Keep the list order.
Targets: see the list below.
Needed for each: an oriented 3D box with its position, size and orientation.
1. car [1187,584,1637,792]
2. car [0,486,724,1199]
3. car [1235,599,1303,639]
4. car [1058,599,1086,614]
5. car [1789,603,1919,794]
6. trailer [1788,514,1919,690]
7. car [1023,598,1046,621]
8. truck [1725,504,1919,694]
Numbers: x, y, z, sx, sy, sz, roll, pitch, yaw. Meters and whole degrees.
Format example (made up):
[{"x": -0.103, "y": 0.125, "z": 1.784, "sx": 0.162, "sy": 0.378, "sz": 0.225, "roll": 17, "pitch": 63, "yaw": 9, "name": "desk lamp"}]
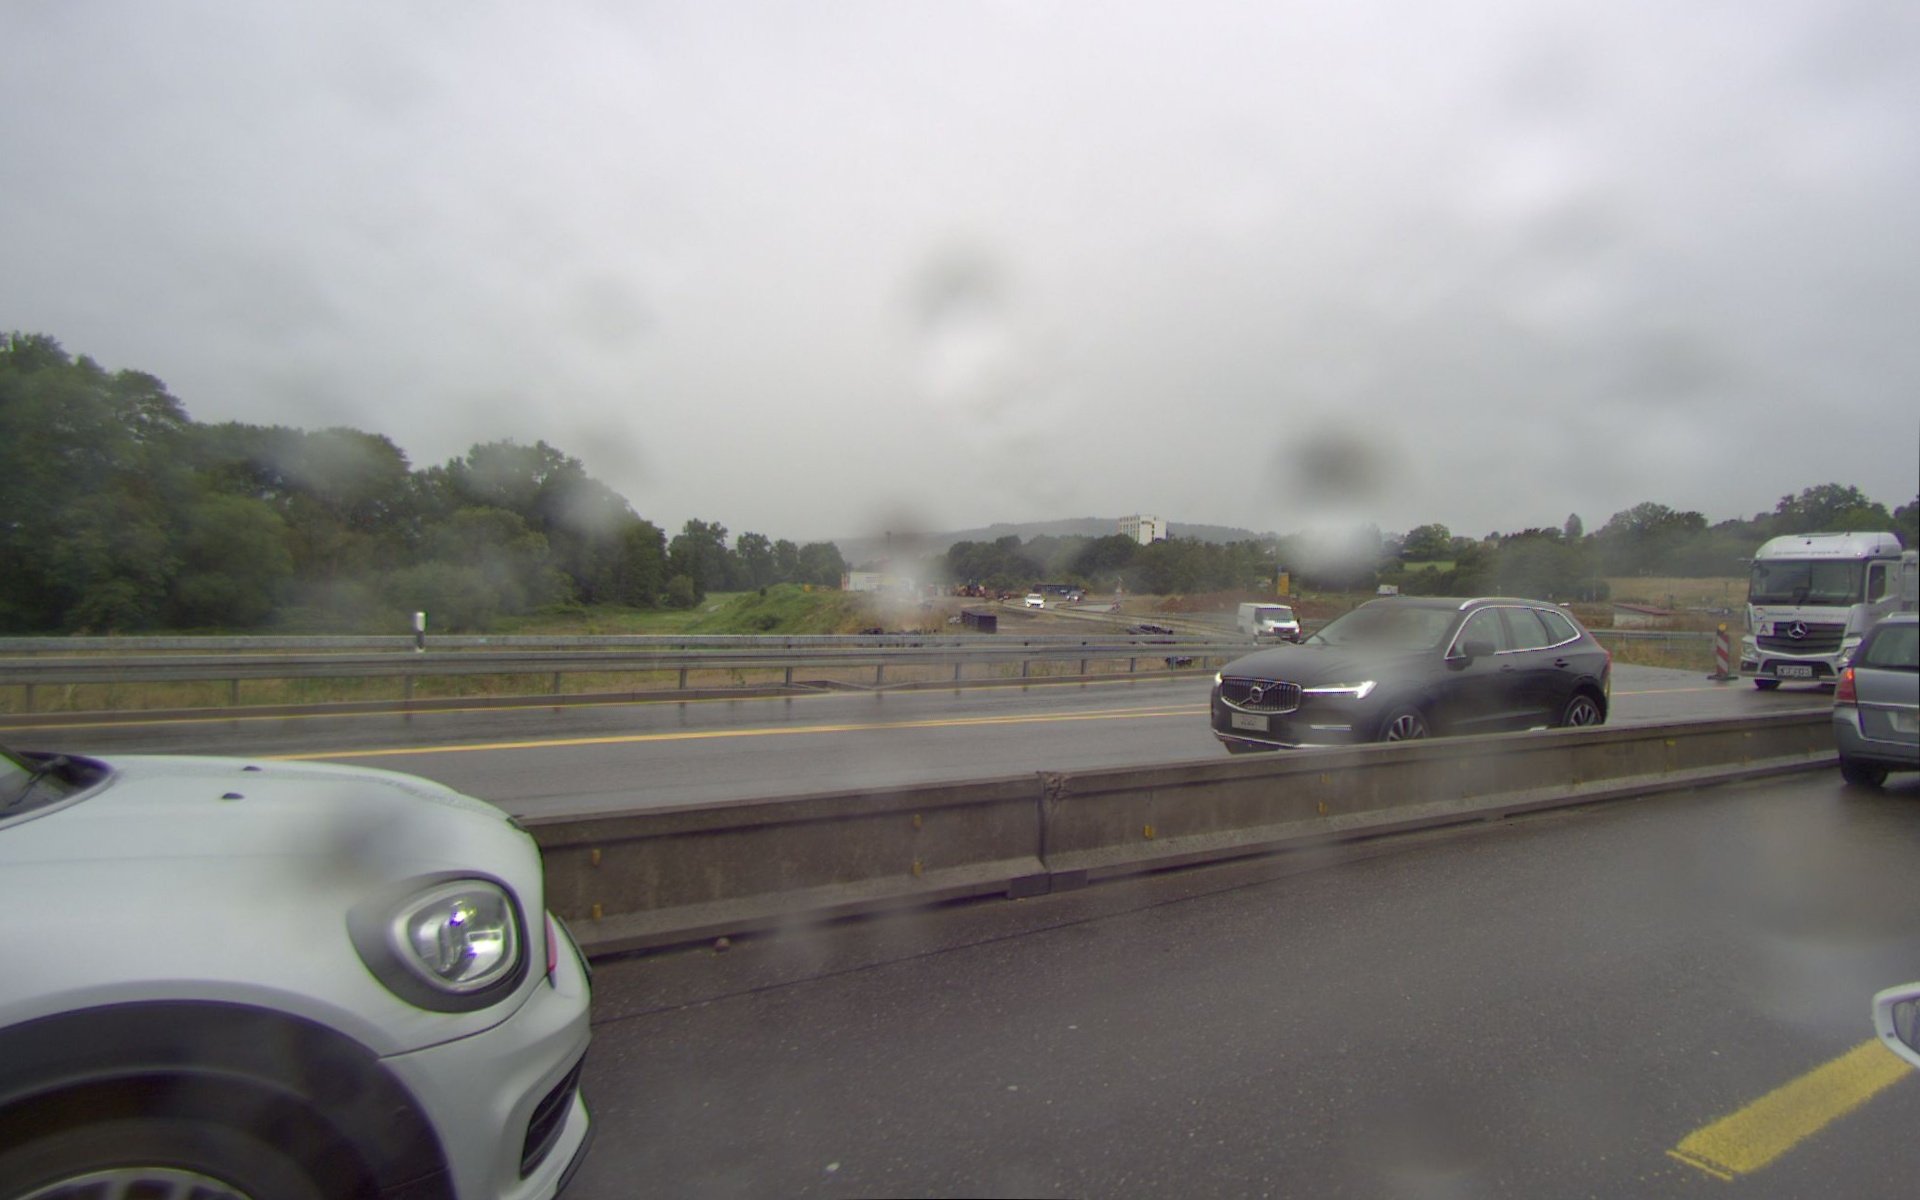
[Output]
[{"x": 4.607, "y": 0.762, "z": 10.091, "sx": 4.418, "sy": 1.677, "sz": 1.984, "roll": 1, "pitch": -1, "yaw": -31, "name": "car"}, {"x": -2.736, "y": 0.635, "z": 1.633, "sx": 4.257, "sy": 1.622, "sz": 1.807, "roll": 0, "pitch": 0, "yaw": -30, "name": "car"}, {"x": 16.527, "y": 0.983, "z": 54.027, "sx": 2.227, "sy": 2.040, "sz": 5.047, "roll": 1, "pitch": 0, "yaw": 2, "name": "car"}, {"x": 14.035, "y": 0.807, "z": 125.331, "sx": 1.816, "sy": 1.723, "sz": 5.040, "roll": 1, "pitch": 0, "yaw": 27, "name": "car"}, {"x": 9.978, "y": 0.881, "z": 9.523, "sx": 4.092, "sy": 1.622, "sz": 1.984, "roll": 1, "pitch": 0, "yaw": -30, "name": "car"}, {"x": 25.480, "y": 0.153, "z": 26.415, "sx": 9.707, "sy": 4.016, "sz": 2.672, "roll": 1, "pitch": -1, "yaw": -31, "name": "trailer"}, {"x": 7.272, "y": 0.903, "z": 98.150, "sx": 2.030, "sy": 2.090, "sz": 4.844, "roll": 1, "pitch": 0, "yaw": 2, "name": "car"}, {"x": 20.639, "y": 0.038, "z": 23.504, "sx": 5.213, "sy": 3.979, "sz": 2.672, "roll": 1, "pitch": -1, "yaw": -31, "name": "truck"}]
